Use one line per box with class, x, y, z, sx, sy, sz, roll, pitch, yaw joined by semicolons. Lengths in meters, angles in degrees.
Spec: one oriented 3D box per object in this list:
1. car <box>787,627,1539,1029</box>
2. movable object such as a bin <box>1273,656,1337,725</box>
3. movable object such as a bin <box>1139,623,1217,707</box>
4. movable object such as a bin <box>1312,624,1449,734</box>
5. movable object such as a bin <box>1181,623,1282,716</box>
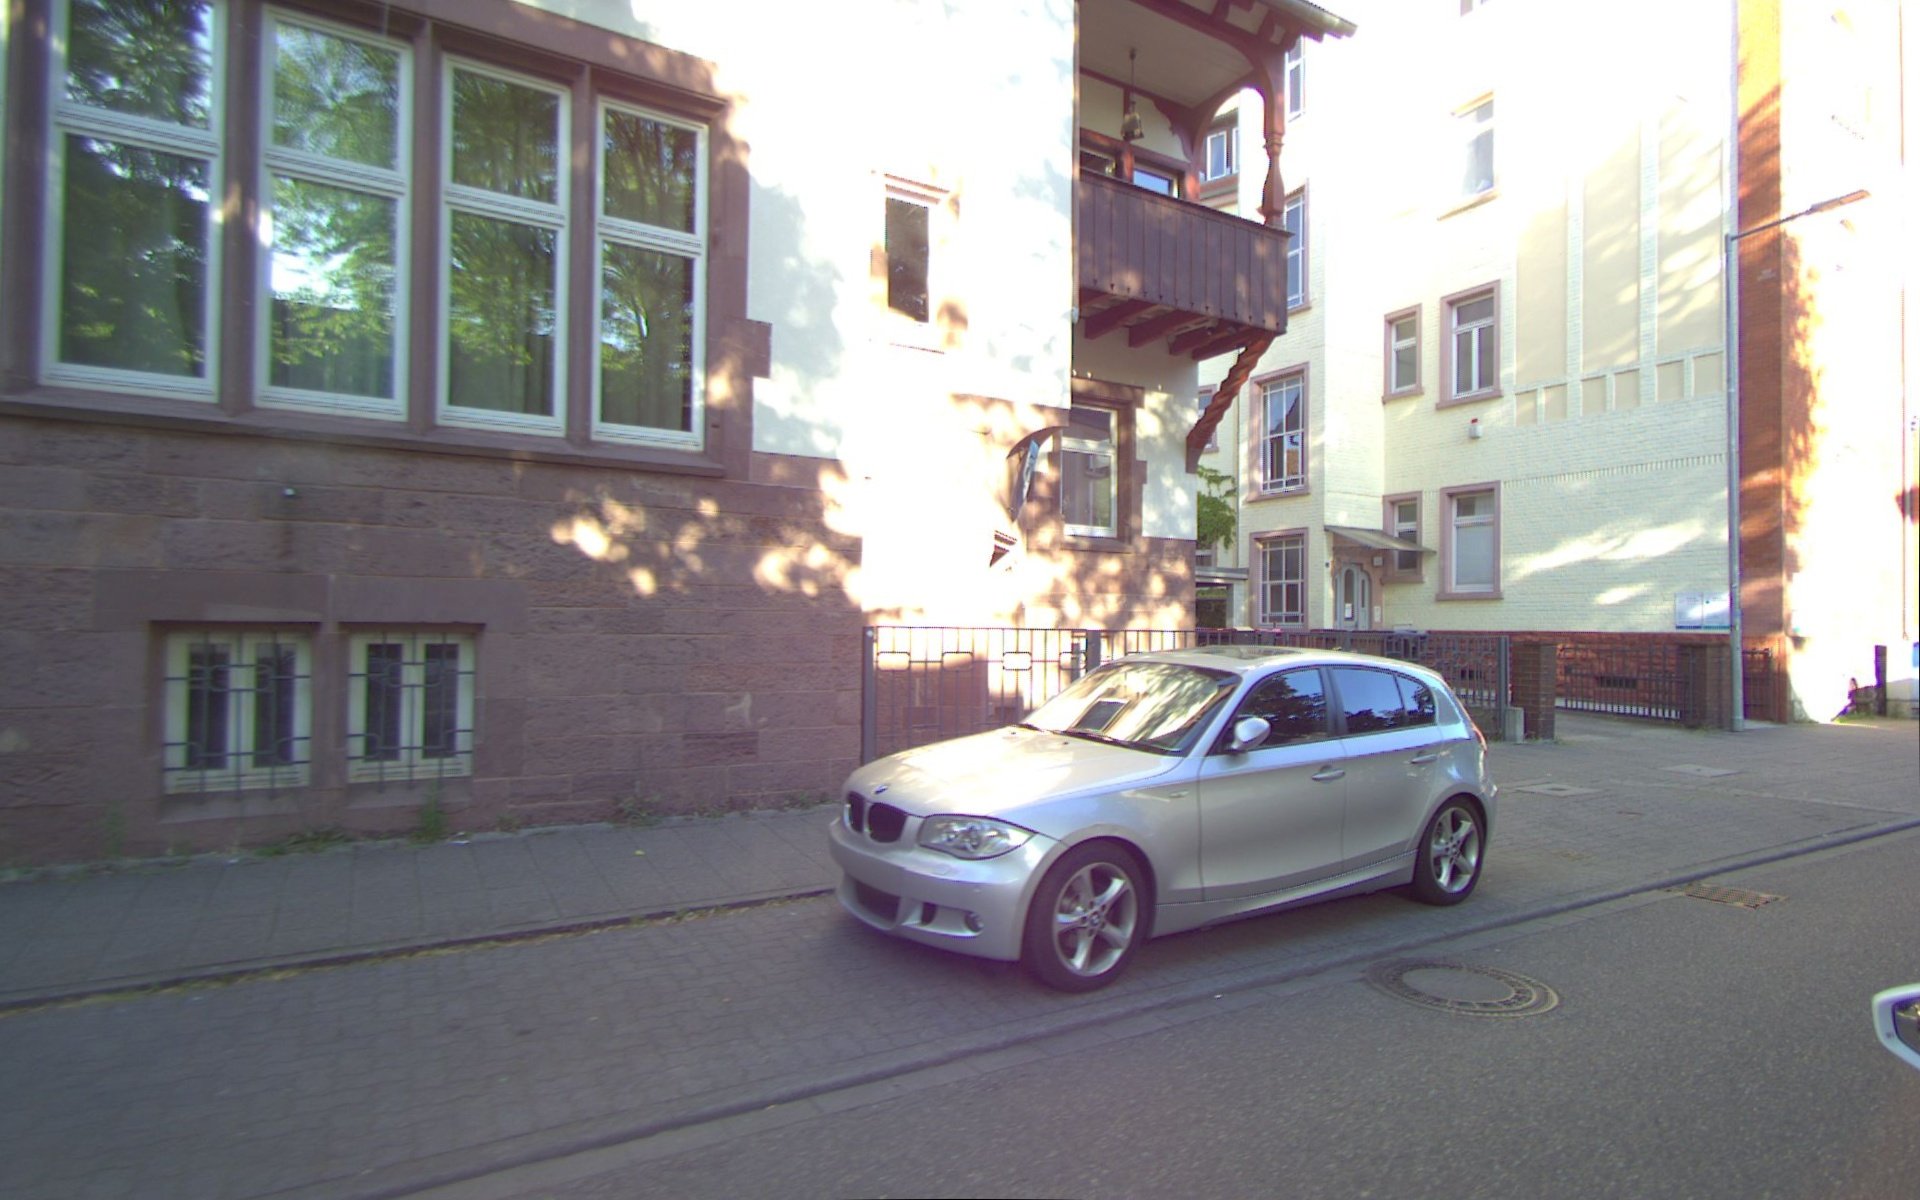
car;1.268;0.926;5.613;4.058;1.486;1.734;2;-1;-32
movable object such as a bin;4.619;1.200;13.459;0.662;0.890;0.480;1;-1;-20
movable object such as a bin;3.568;1.043;16.516;0.623;1.327;1.196;1;-1;-28
movable object such as a bin;5.379;0.984;12.936;0.954;1.316;1.374;1;-1;-20
movable object such as a bin;4.144;1.029;15.374;0.680;1.335;1.370;2;-1;-36
